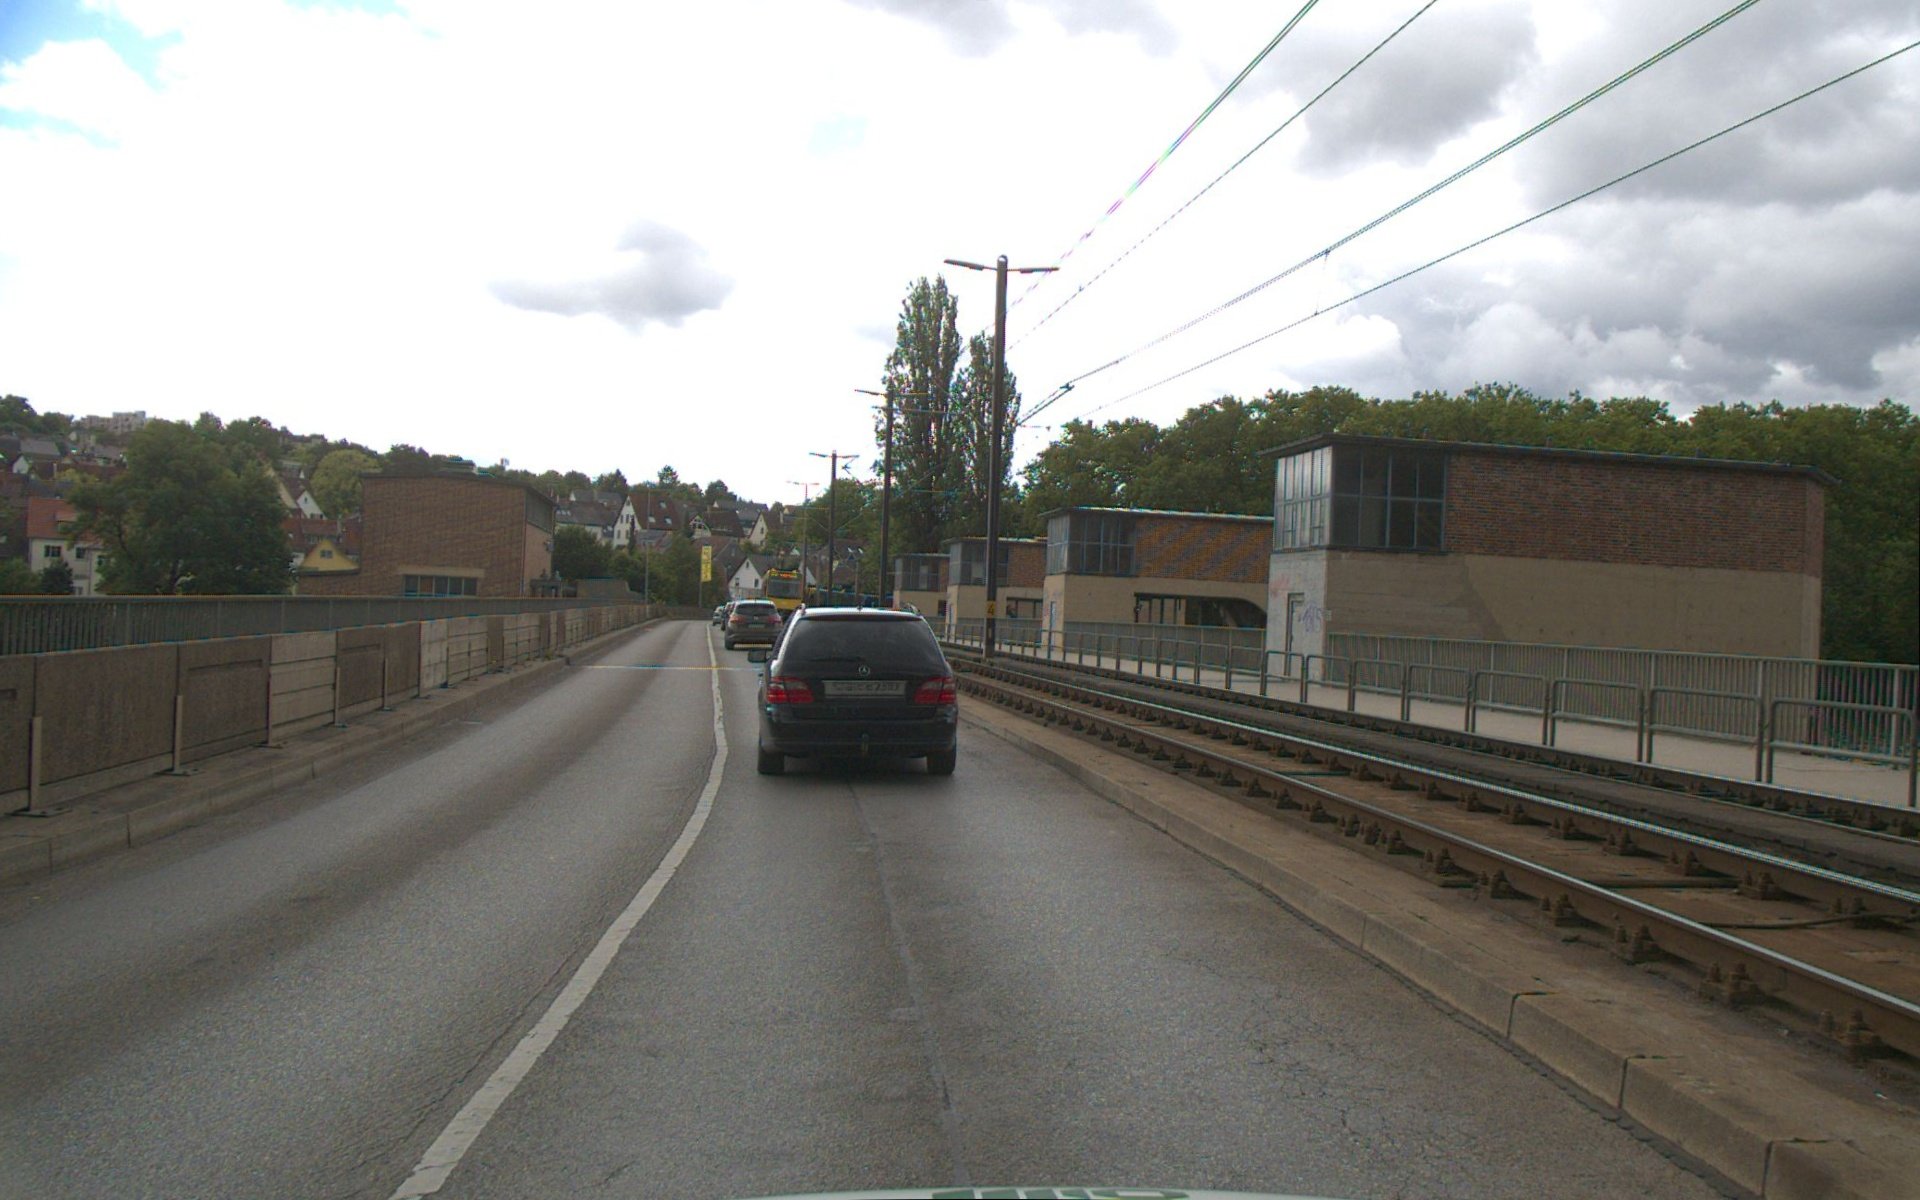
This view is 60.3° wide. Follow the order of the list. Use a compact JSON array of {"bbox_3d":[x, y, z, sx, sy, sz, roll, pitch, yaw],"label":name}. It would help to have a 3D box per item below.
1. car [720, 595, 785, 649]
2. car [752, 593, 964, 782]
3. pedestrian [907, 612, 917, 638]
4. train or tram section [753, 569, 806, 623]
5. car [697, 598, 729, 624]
[{"bbox_3d":[-6.580,0.662,52.157,1.739,1.582,4.229,2,0,-11],"label":"car"},{"bbox_3d":[-1.110,0.744,15.880,1.725,1.542,4.435,1,-1,-7],"label":"car"},{"bbox_3d":[-3.112,1.630,107.835,0.566,1.638,0.611,2,-1,-8],"label":"pedestrian"},{"bbox_3d":[-13.072,-0.270,118.599,2.829,3.571,18.625,0,0,-9],"label":"train or tram section"},{"bbox_3d":[-16.580,0.737,110.992,1.957,1.598,4.894,3,0,-9],"label":"car"}]
